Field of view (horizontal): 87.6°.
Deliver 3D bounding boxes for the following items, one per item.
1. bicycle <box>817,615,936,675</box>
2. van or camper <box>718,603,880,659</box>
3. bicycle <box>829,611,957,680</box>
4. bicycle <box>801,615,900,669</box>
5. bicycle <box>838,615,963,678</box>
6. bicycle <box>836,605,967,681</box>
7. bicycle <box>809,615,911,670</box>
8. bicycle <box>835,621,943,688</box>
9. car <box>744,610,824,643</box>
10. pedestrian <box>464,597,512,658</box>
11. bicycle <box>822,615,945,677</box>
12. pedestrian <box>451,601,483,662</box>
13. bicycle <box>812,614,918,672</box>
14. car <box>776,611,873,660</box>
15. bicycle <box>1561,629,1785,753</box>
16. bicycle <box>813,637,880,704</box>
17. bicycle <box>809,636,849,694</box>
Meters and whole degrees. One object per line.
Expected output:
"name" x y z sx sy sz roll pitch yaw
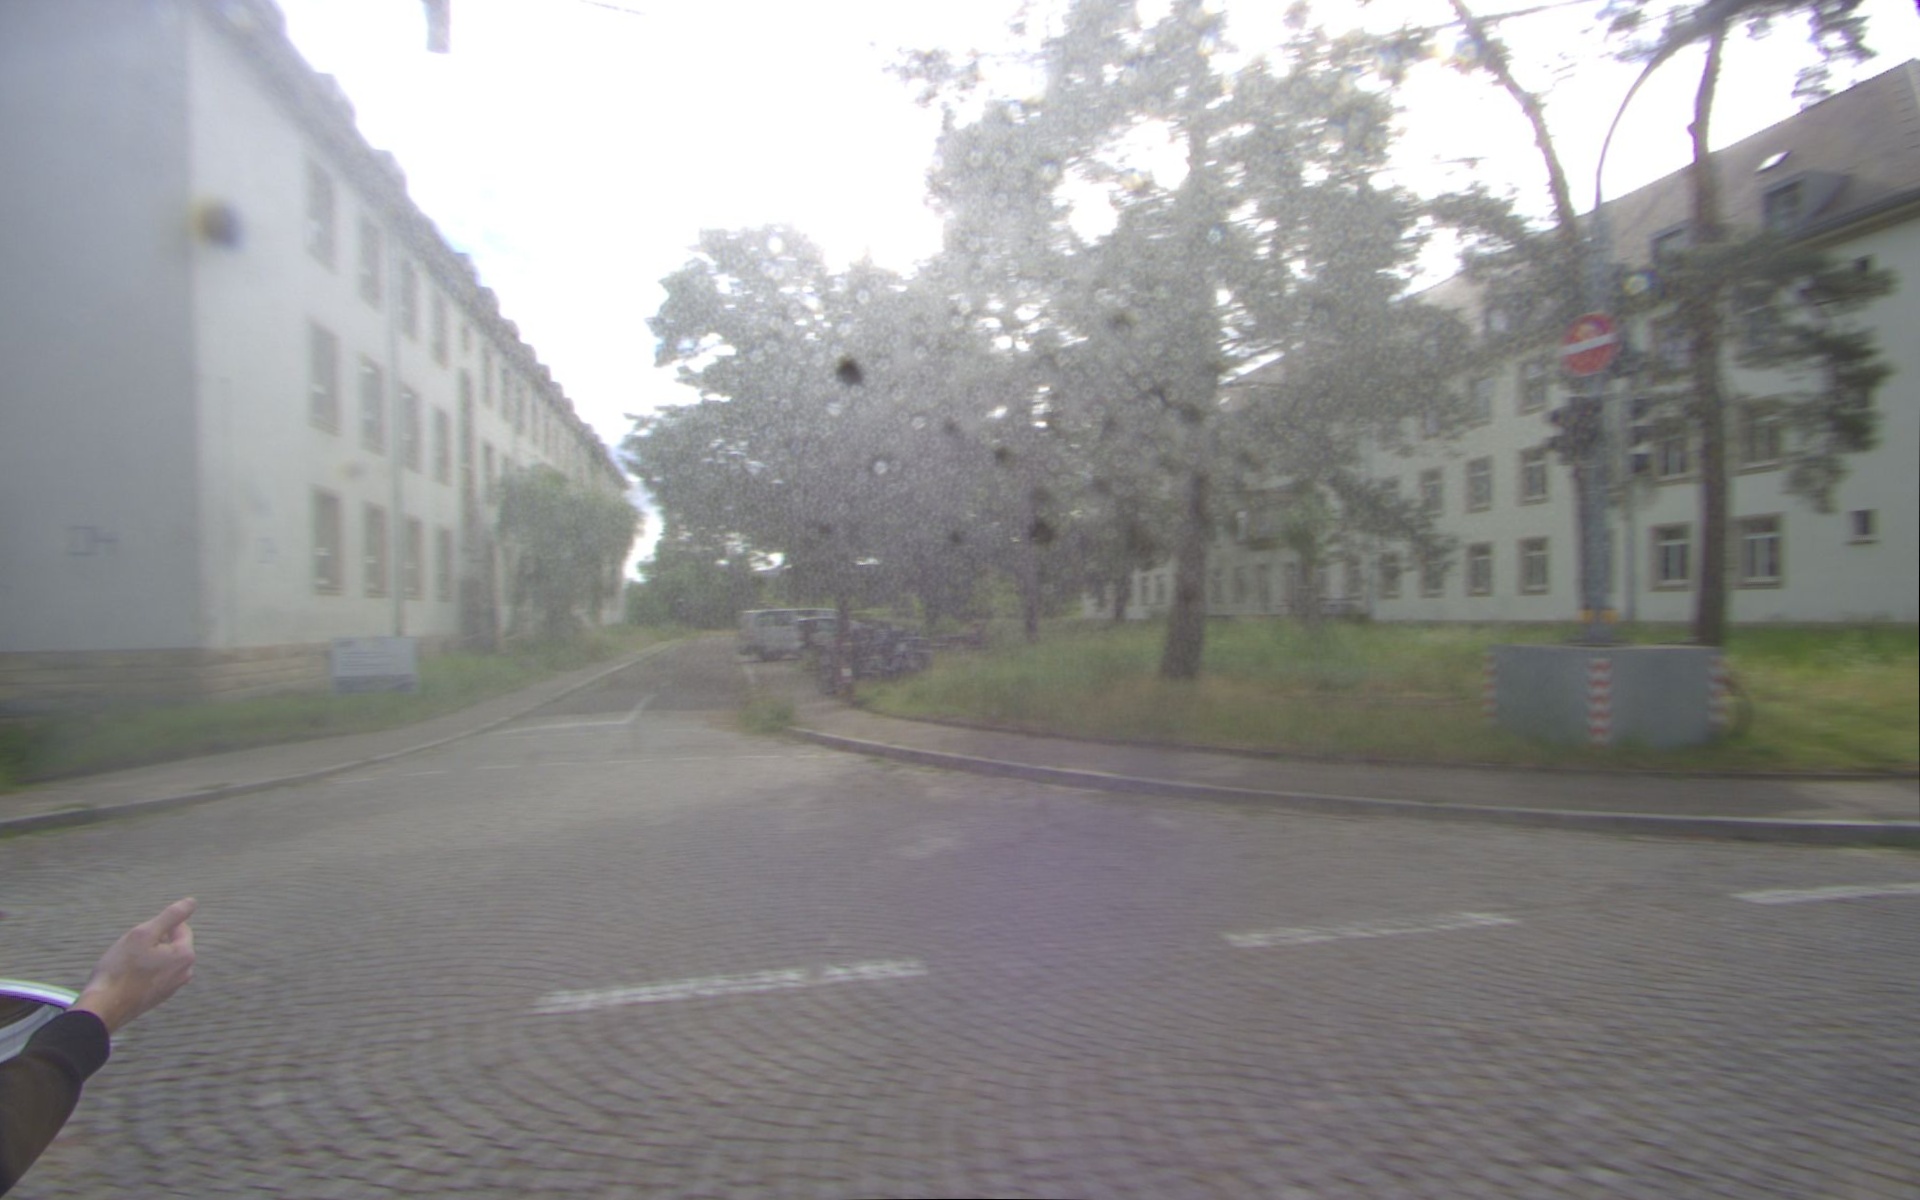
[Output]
"bicycle" -2.046 1.078 24.404 2.760 1.390 0.949 0 0 -14
"van or camper" -6.091 1.137 37.992 5.670 1.983 2.229 0 0 -26
"bicycle" -1.428 0.939 21.236 2.580 1.385 0.873 0 0 -14
"bicycle" -2.957 1.102 26.899 2.529 1.390 0.949 0 0 -15
"bicycle" -1.381 1.053 23.095 2.760 1.390 0.949 0 0 -14
"bicycle" -1.294 0.934 22.160 2.760 1.604 0.949 0 0 -14
"bicycle" -2.609 1.087 26.121 2.529 1.390 0.949 0 0 -15
"bicycle" -1.471 1.100 20.599 2.081 1.323 0.873 0 0 -14
"car" -9.086 1.371 51.586 3.928 1.621 1.701 0 0 -16
"pedestrian" -15.306 0.894 32.523 1.177 1.894 1.547 1 -1 -17
"bicycle" -1.815 1.059 23.541 2.760 1.390 0.949 0 0 -14
"pedestrian" -16.129 1.041 32.762 0.854 1.957 0.834 2 -1 -25
"bicycle" -2.406 1.068 25.307 2.529 1.390 0.949 0 0 -15
"car" -4.771 1.247 35.086 3.177 1.641 1.935 1 -1 -14
"bicycle" 7.195 0.871 10.226 0.635 1.076 1.831 -4 1 -16
"bicycle" -1.960 1.159 17.017 0.887 1.009 1.976 0 -1 -14
"bicycle" -2.507 1.205 19.036 0.716 1.009 1.978 0 -1 -9
